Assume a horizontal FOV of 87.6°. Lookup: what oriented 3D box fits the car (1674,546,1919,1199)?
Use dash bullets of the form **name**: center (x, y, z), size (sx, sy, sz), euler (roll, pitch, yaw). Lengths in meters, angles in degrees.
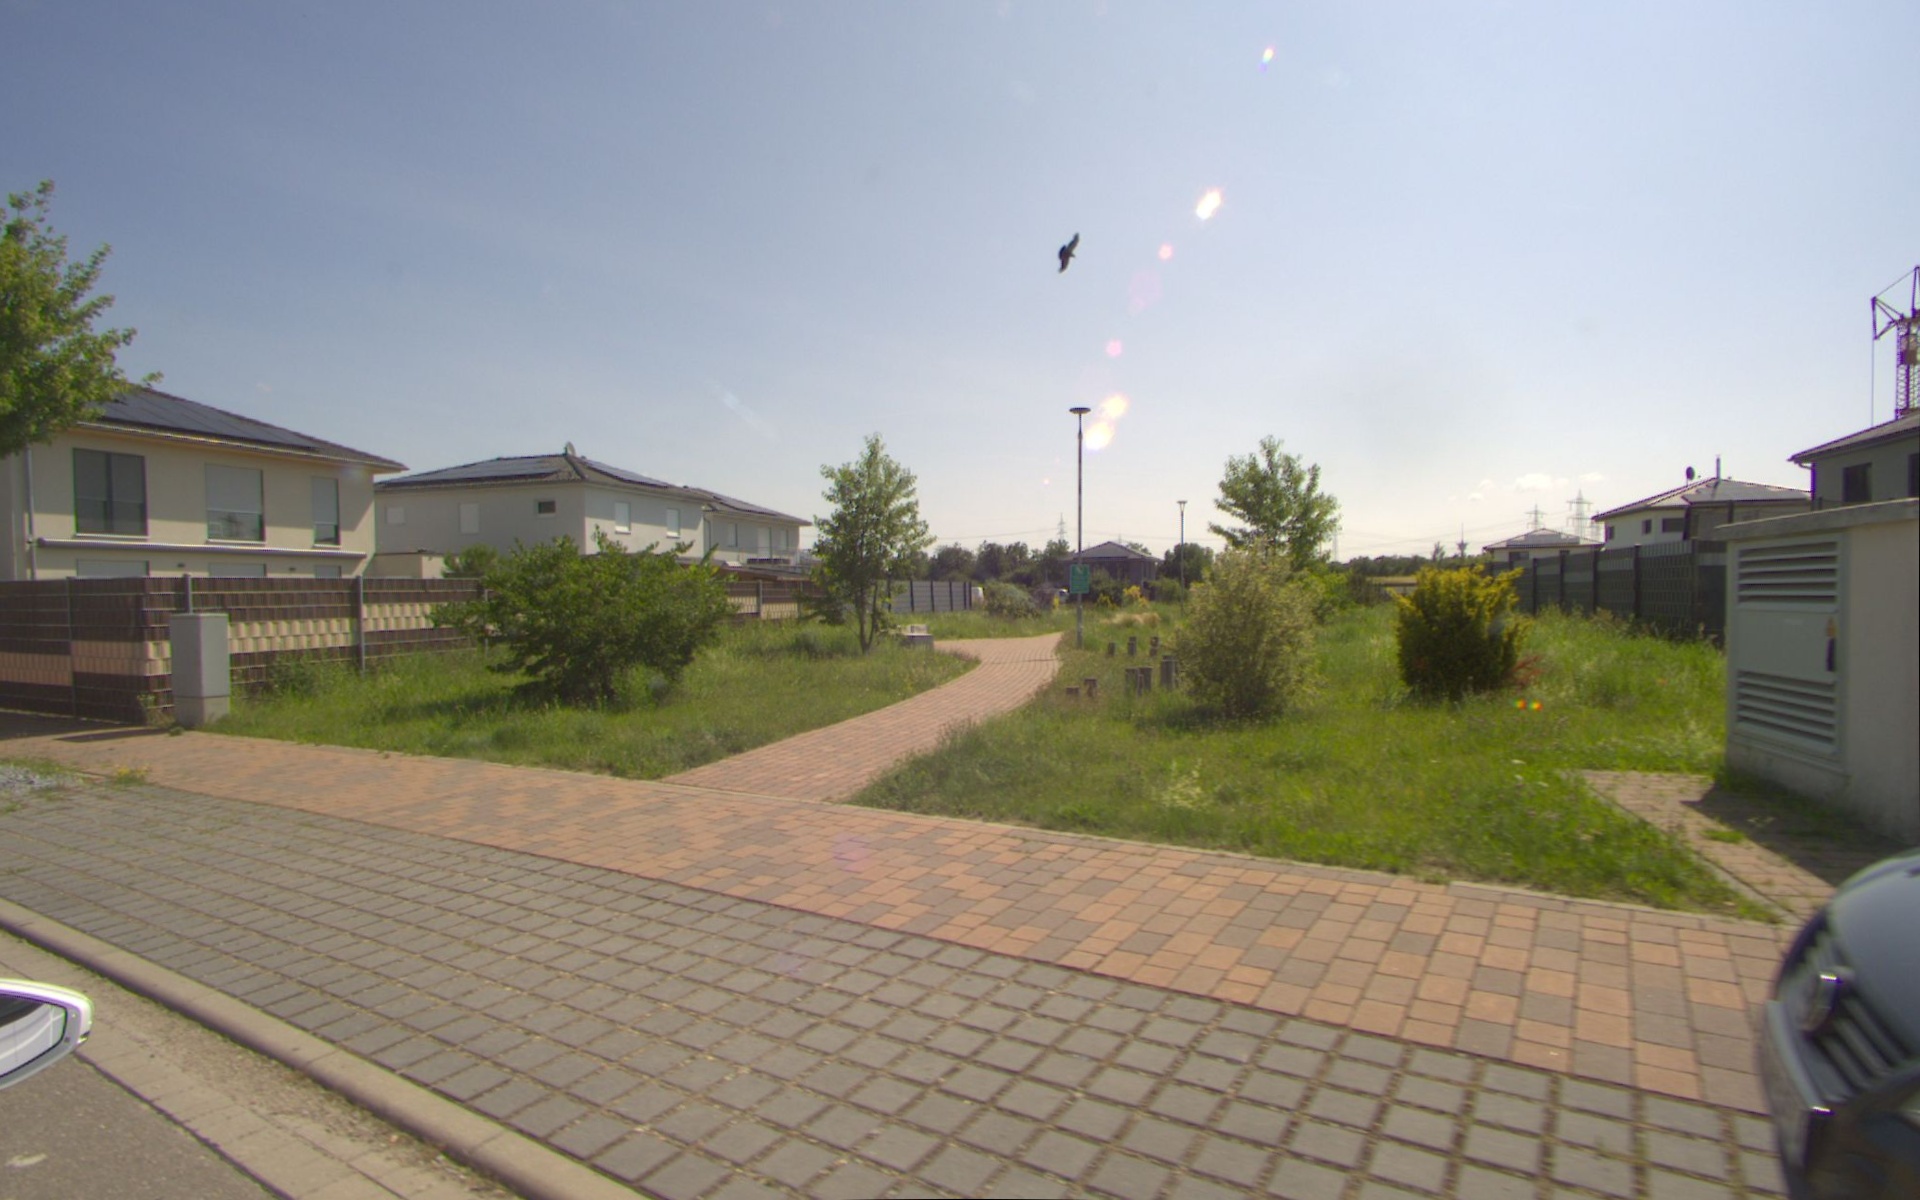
- **car**: center (3.027, 0.644, 1.008), size (3.621, 1.495, 1.594), euler (0, 2, 31)
